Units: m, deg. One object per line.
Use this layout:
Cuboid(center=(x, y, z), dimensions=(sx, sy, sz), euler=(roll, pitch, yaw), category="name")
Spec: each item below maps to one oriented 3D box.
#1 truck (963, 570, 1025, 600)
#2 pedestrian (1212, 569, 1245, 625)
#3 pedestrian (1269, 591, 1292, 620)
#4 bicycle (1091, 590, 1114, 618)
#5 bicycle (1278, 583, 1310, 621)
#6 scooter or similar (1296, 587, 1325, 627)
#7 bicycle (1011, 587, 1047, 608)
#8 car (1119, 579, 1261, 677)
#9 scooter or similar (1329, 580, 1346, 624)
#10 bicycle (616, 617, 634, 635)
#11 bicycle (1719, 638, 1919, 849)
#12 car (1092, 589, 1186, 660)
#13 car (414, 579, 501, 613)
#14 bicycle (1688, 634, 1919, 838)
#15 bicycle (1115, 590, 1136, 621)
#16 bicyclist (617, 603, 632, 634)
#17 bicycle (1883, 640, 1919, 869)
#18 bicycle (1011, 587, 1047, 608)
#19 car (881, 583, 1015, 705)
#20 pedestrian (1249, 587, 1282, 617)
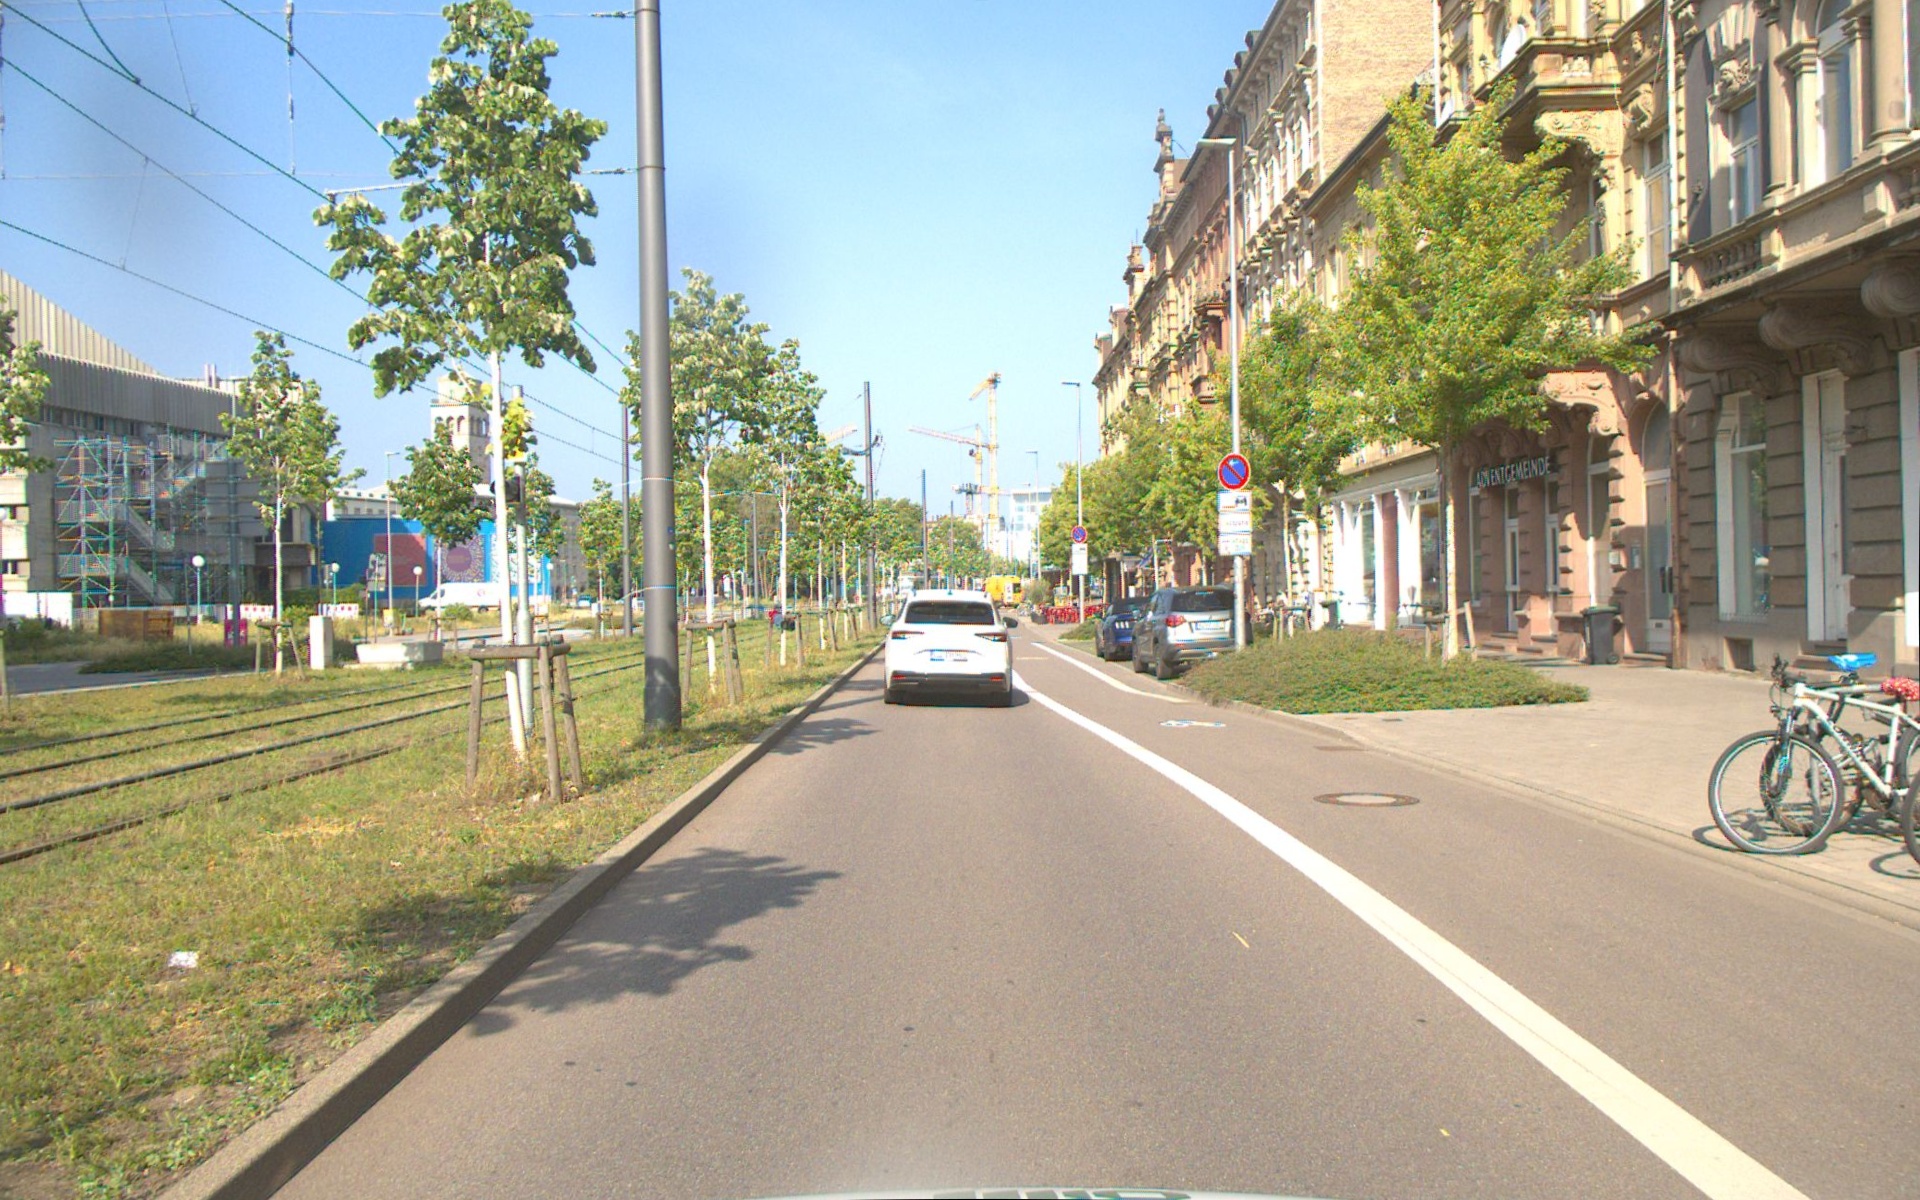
Cuboid(center=(2.760, -1.205, 137.136), dimensions=(2.193, 2.358, 5.820), euler=(-2, 1, -34), category="truck")
Cuboid(center=(8.596, -0.105, 52.933), dimensions=(0.807, 1.726, 0.792), euler=(-3, 0, -5), category="pedestrian")
Cuboid(center=(10.127, 0.183, 52.281), dimensions=(0.559, 0.869, 0.457), euler=(-4, 1, -6), category="pedestrian")
Cuboid(center=(6.020, 0.161, 69.951), dimensions=(0.584, 1.142, 1.923), euler=(-1, 0, -7), category="bicycle")
Cuboid(center=(9.973, 0.062, 49.382), dimensions=(0.442, 1.102, 1.445), euler=(-1, 0, -10), category="bicycle")
Cuboid(center=(10.177, 0.205, 48.033), dimensions=(0.595, 1.144, 0.931), euler=(-1, 0, 0), category="scooter or similar")
Cuboid(center=(4.318, -0.155, 103.129), dimensions=(2.193, 1.123, 0.588), euler=(-4, 0, 1), category="bicycle")
Cuboid(center=(4.212, 0.461, 30.907), dimensions=(1.735, 1.616, 4.244), euler=(-3, 1, -4), category="car")
Cuboid(center=(10.150, 0.050, 44.444), dimensions=(0.282, 1.154, 1.089), euler=(-1, 0, 5), category="scooter or similar")
Cuboid(center=(-19.718, 1.504, 97.353), dimensions=(0.648, 0.978, 2.078), euler=(-3, 0, 0), category="bicycle")
Cuboid(center=(5.231, 0.774, 9.273), dimensions=(1.749, 1.072, 0.372), euler=(-3, 0, -2), category="bicycle")
Cuboid(center=(4.086, 0.513, 38.372), dimensions=(1.701, 1.420, 4.715), euler=(-3, 1, 1), category="car")
Cuboid(center=(-41.878, -0.355, 137.775), dimensions=(6.777, 2.685, 2.498), euler=(1, 0, -22), category="car")
Cuboid(center=(5.230, 0.773, 9.676), dimensions=(1.749, 1.072, 0.372), euler=(-3, 0, -2), category="bicycle")
Cuboid(center=(6.219, 0.203, 62.047), dimensions=(0.494, 1.078, 1.715), euler=(-3, 1, 14), category="bicycle")
Cuboid(center=(-19.729, 1.102, 97.282), dimensions=(0.634, 1.766, 0.918), euler=(-3, 0, -1), category="bicyclist")
Cuboid(center=(5.606, 0.725, 8.126), dimensions=(1.772, 1.115, 0.671), euler=(-3, 1, -6), category="bicycle")
Cuboid(center=(4.341, -0.155, 103.685), dimensions=(2.193, 1.123, 0.519), euler=(-4, 0, 1), category="bicycle")
Cuboid(center=(-0.169, 0.575, 24.416), dimensions=(1.780, 1.617, 4.406), euler=(-1, 0, 0), category="car")
Cuboid(center=(9.956, 0.060, 53.973), dimensions=(0.860, 0.892, 0.710), euler=(-4, 1, -4), category="pedestrian")
